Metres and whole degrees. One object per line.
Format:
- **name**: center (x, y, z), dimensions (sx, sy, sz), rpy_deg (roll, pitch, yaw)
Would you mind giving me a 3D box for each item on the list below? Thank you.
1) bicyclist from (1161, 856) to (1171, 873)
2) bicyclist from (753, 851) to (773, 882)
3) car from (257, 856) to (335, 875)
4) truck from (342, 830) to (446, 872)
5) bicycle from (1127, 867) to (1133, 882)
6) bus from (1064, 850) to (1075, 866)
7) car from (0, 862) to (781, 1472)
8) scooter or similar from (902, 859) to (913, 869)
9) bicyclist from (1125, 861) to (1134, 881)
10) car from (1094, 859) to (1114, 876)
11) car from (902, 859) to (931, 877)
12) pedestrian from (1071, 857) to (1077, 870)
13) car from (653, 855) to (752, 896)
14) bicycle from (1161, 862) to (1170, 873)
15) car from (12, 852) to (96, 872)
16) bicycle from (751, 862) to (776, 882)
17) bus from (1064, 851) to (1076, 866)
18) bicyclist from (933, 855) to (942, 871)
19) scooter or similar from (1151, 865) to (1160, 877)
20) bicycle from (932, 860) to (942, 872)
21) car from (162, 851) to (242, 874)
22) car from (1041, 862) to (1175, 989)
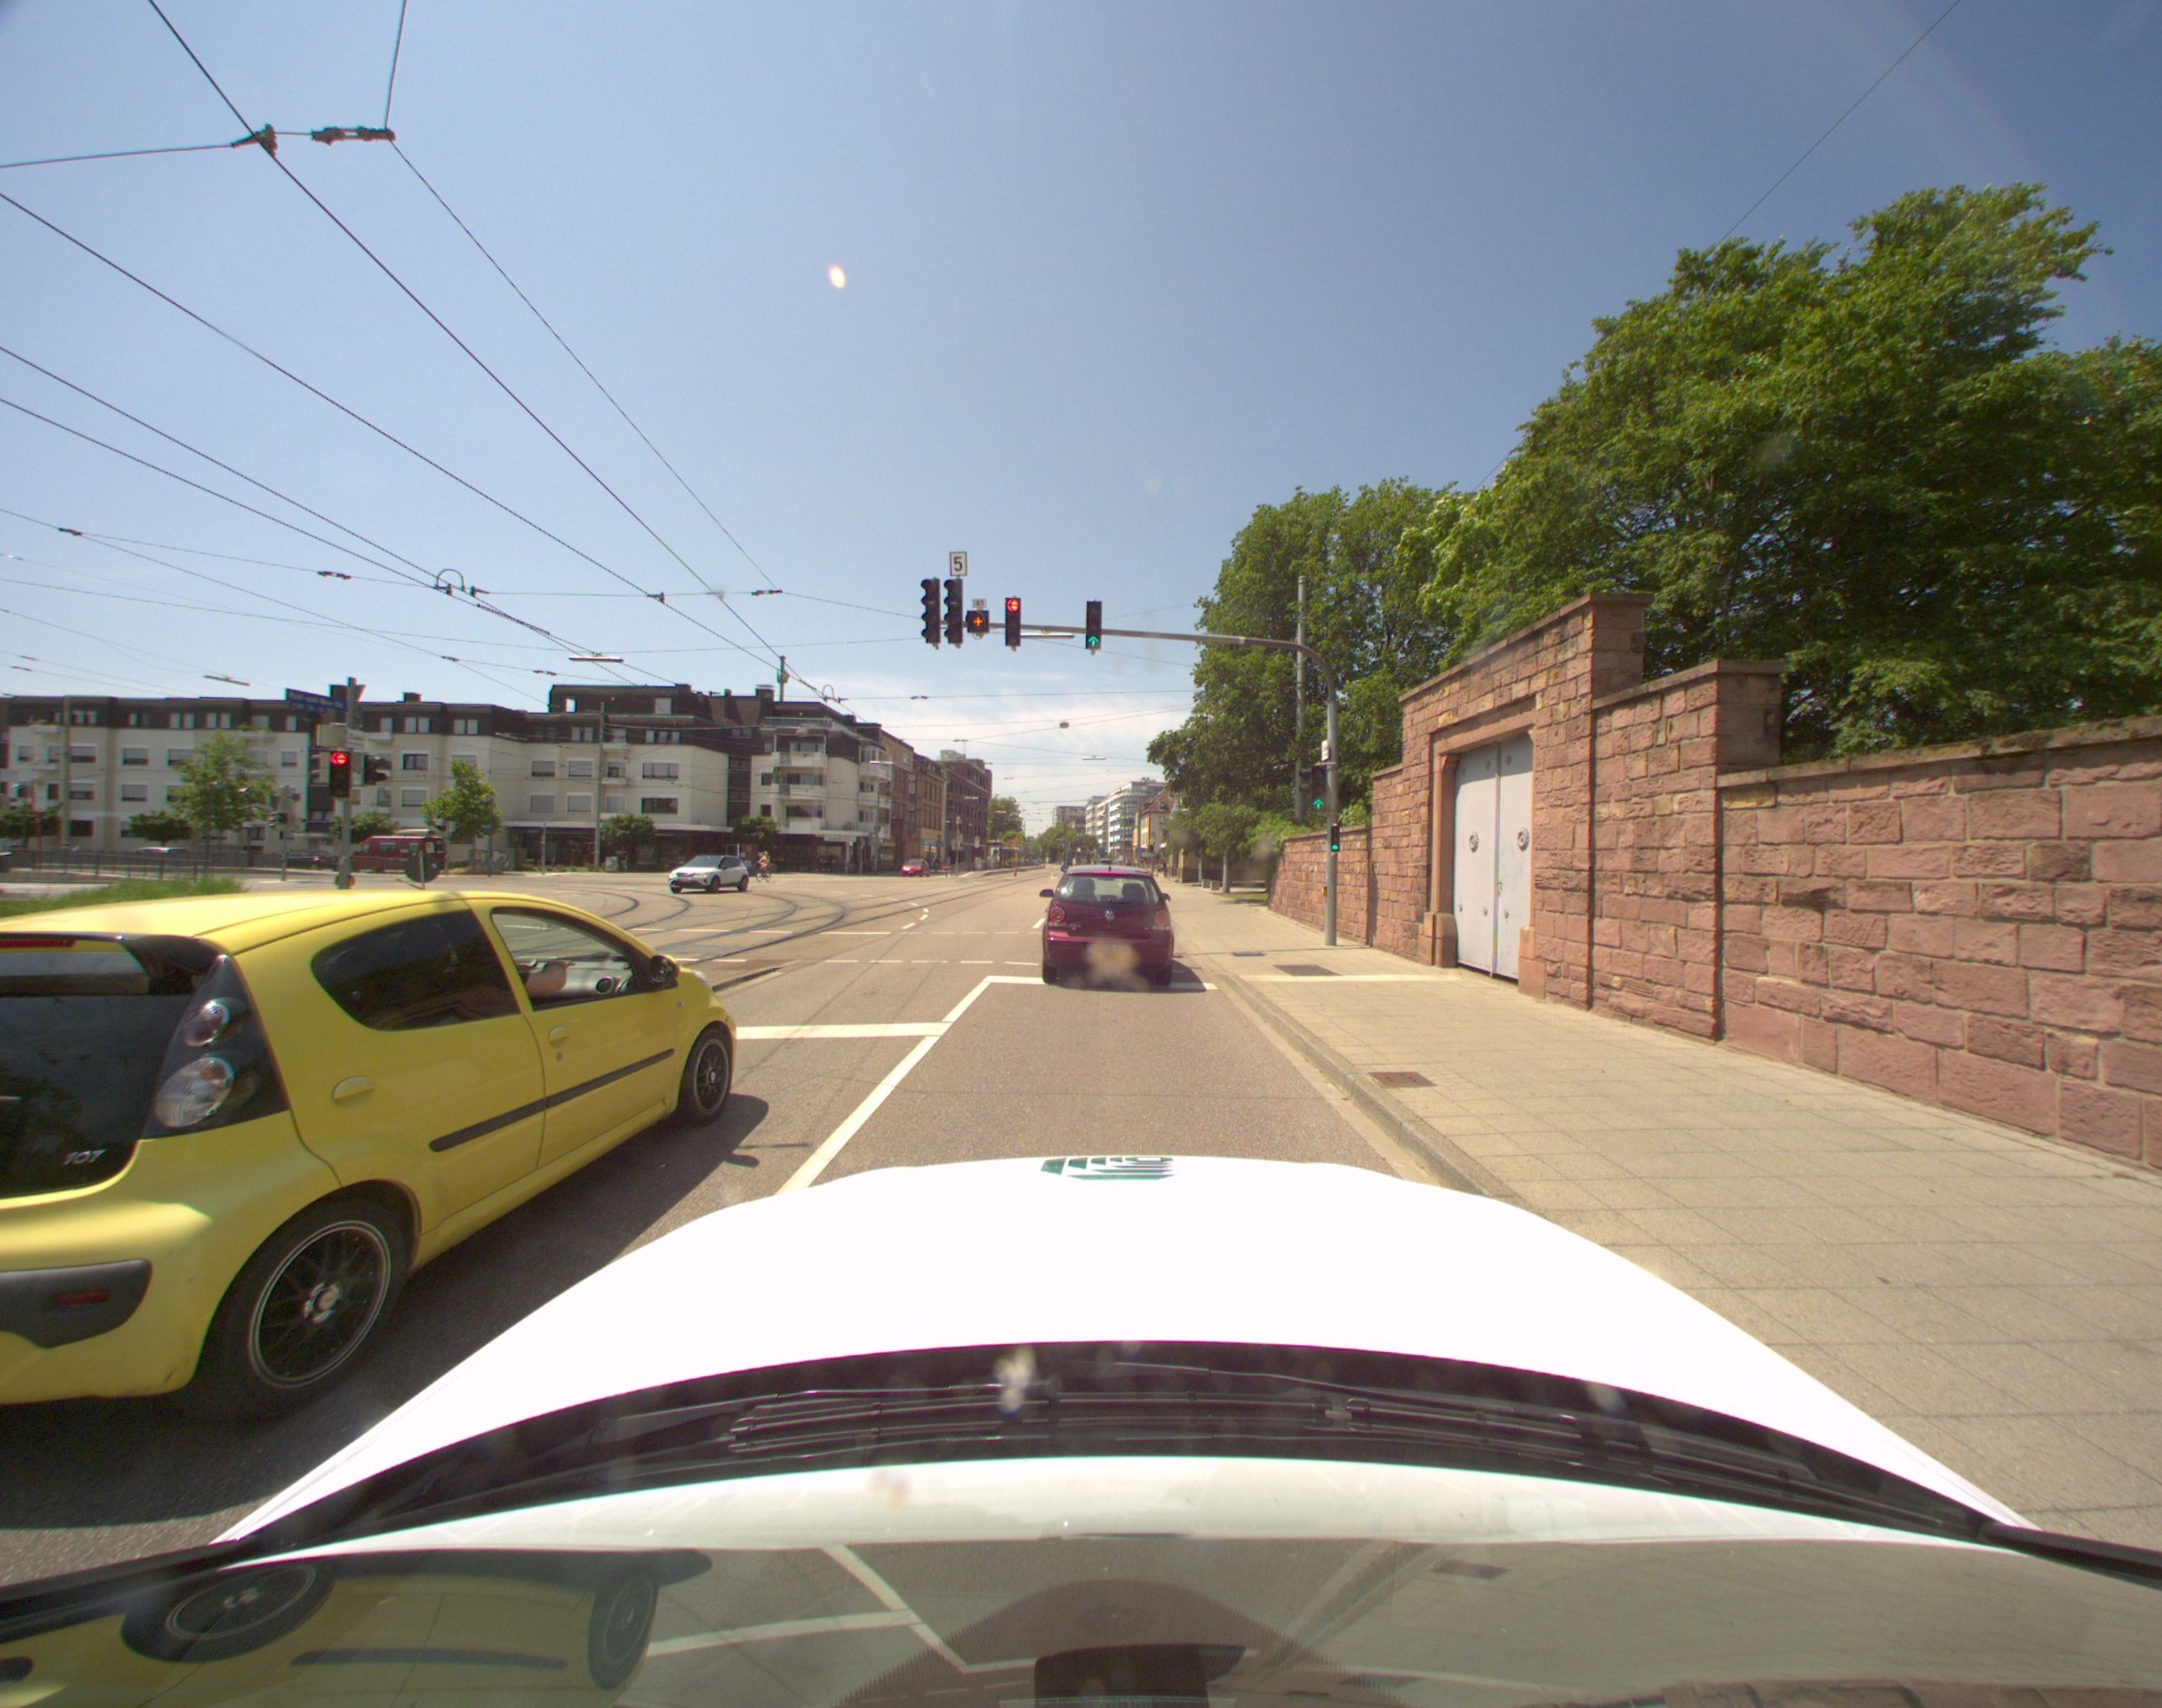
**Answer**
- **bicyclist**: center (8.153, 1.001, 78.358), dimensions (0.829, 1.618, 0.860), rpy_deg (-3, 0, 2)
- **bicyclist**: center (-18.762, 0.742, 48.132), dimensions (0.692, 1.765, 1.137), rpy_deg (1, 0, 1)
- **car**: center (-51.209, 0.732, 53.147), dimensions (3.555, 1.219, 1.591), rpy_deg (1, -1, 2)
- **truck**: center (-45.156, -0.179, 53.604), dimensions (5.007, 2.698, 2.188), rpy_deg (1, -1, 2)
- **bicycle**: center (4.212, 1.747, 70.166), dimensions (0.374, 1.197, 1.905), rpy_deg (1, 0, 1)
- **bus**: center (-2.230, 0.807, 159.844), dimensions (2.137, 3.003, 6.573), rpy_deg (1, -1, 0)
- **car**: center (-2.910, 0.780, 3.756), dimensions (1.610, 1.421, 3.656), rpy_deg (-2, -1, 1)
- **scooter or similar**: center (-19.626, 1.160, 91.987), dimensions (0.484, 1.082, 1.584), rpy_deg (0, 0, 18)
- **bicyclist**: center (4.152, 1.473, 70.384), dimensions (0.725, 1.760, 0.924), rpy_deg (1, 0, 1)
- **car**: center (2.463, 1.400, 84.849), dimensions (1.986, 1.624, 4.634), rpy_deg (1, -1, 2)
- **car**: center (-13.987, 1.197, 69.455), dimensions (1.618, 1.484, 3.829), rpy_deg (1, -1, 1)
- **pedestrian**: center (-0.907, 1.247, 104.840), dimensions (0.760, 1.674, 1.101), rpy_deg (1, -1, 2)
- **car**: center (-15.417, 0.831, 33.457), dimensions (1.986, 1.553, 4.141), rpy_deg (1, -1, 2)
- **bicycle**: center (8.096, 1.317, 78.364), dimensions (0.666, 1.002, 1.864), rpy_deg (-3, 0, 2)
- **car**: center (-67.598, 0.540, 53.655), dimensions (3.555, 1.240, 1.591), rpy_deg (1, -1, 2)
- **bicycle**: center (-18.777, 1.055, 48.168), dimensions (0.692, 1.149, 1.932), rpy_deg (1, 0, 1)
- **bus**: center (-2.191, 0.906, 166.414), dimensions (2.225, 3.003, 6.593), rpy_deg (1, -1, 0)
- **bicyclist**: center (-15.912, 1.022, 90.219), dimensions (0.729, 1.762, 1.135), rpy_deg (1, 0, 1)
- **scooter or similar**: center (7.638, 1.706, 83.420), dimensions (0.340, 1.178, 1.457), rpy_deg (1, -1, -22)
- **bicycle**: center (-15.900, 1.273, 90.153), dimensions (0.674, 1.304, 2.105), rpy_deg (1, 0, 1)
- **car**: center (-57.748, 0.565, 53.552), dimensions (3.555, 1.433, 1.591), rpy_deg (1, -1, 2)
- **car**: center (0.347, 0.849, 11.033), dimensions (1.555, 1.453, 3.062), rpy_deg (1, -1, 1)
